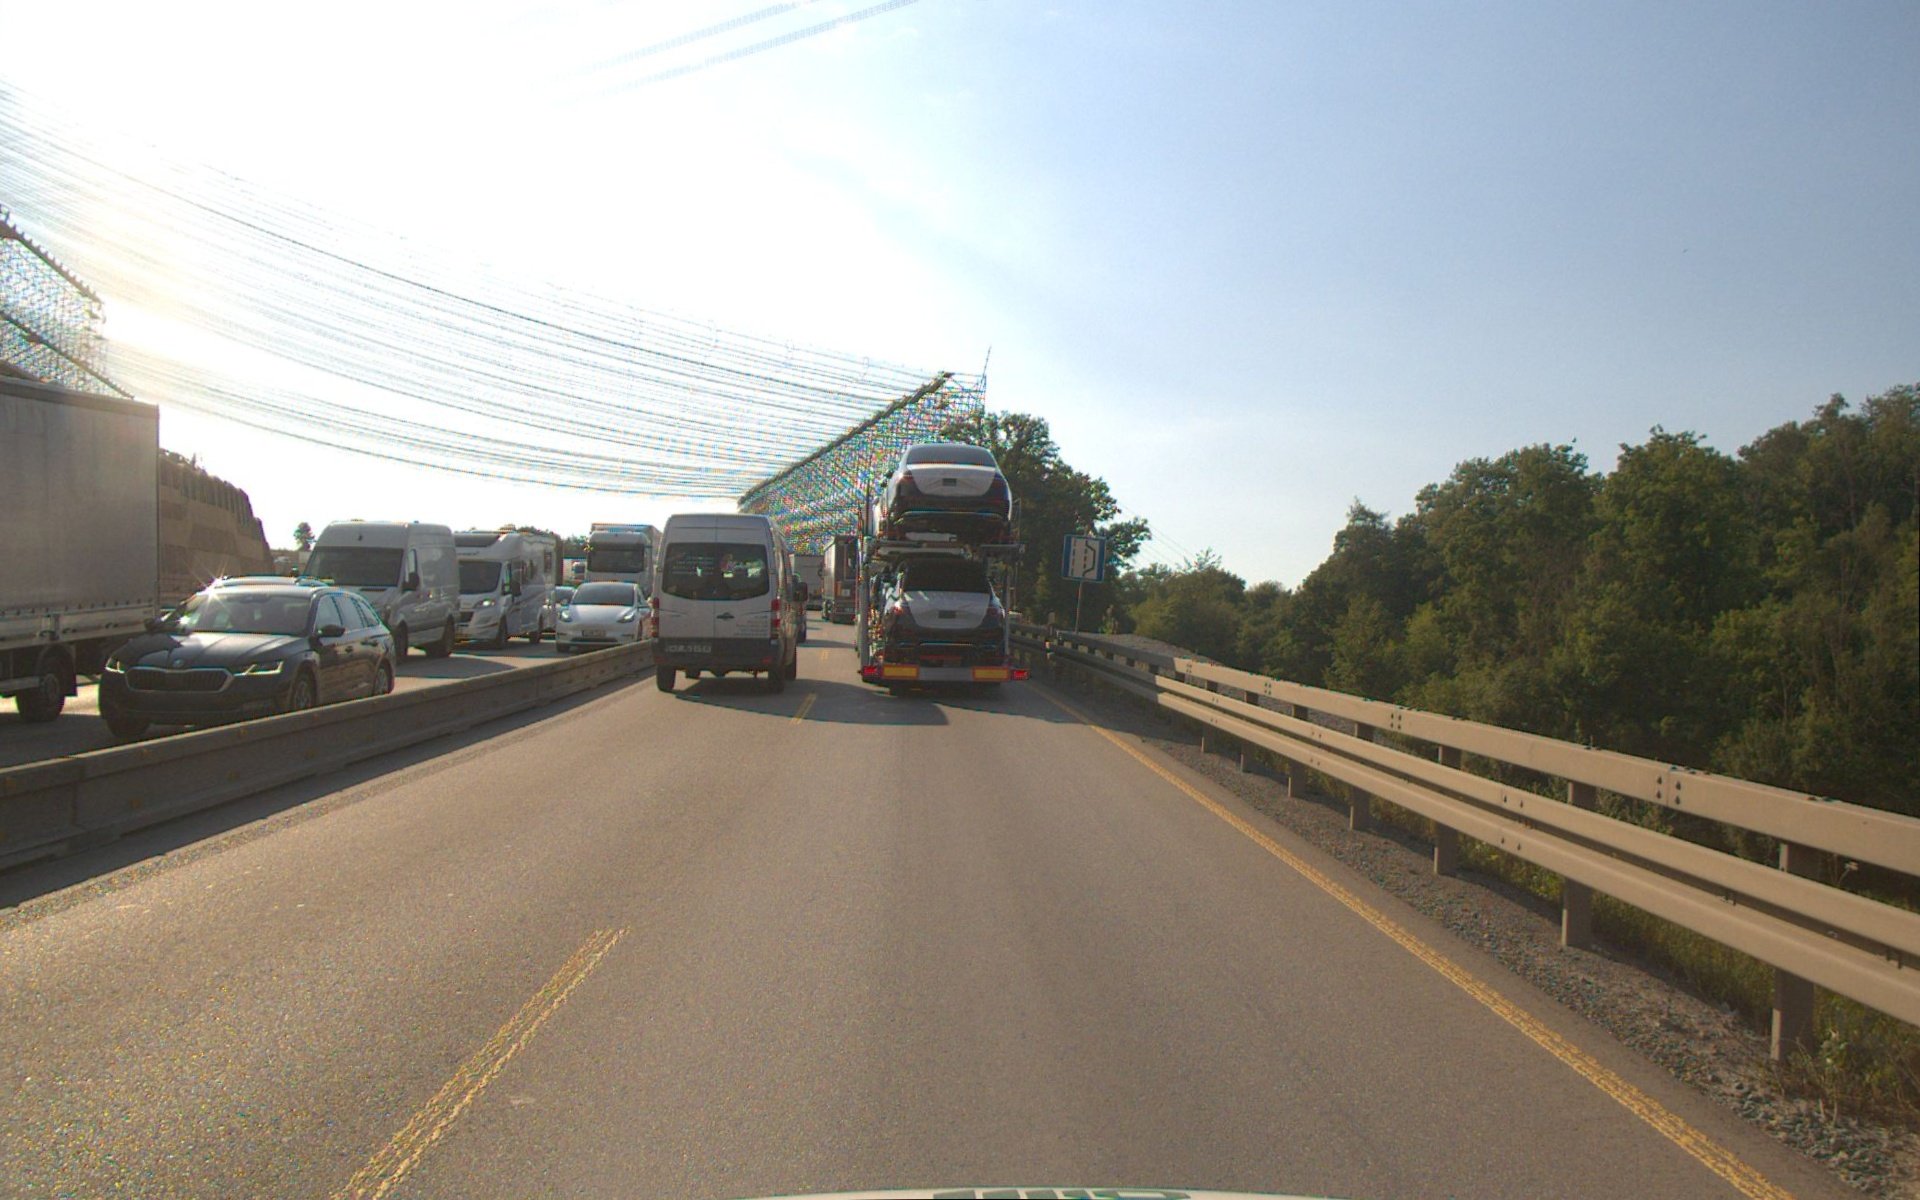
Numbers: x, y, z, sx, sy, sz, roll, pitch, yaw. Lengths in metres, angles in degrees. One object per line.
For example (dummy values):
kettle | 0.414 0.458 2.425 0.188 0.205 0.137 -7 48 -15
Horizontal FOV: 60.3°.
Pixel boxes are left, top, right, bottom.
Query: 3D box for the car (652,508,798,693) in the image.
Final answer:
car | -3.590 0.018 25.916 1.918 2.666 3.997 0 0 -3

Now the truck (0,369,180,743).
truck | -10.259 -0.433 15.622 2.398 3.523 7.613 1 0 -3

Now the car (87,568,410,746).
car | -7.056 0.506 16.910 1.621 1.550 4.284 1 0 -3

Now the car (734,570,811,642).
car | -5.617 0.175 49.940 1.953 2.049 3.998 2 0 -2

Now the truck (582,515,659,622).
truck | -14.227 -1.289 69.664 2.661 4.291 5.673 1 0 -8

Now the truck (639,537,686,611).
truck | -18.328 -1.578 102.207 2.694 4.375 5.921 1 0 -9

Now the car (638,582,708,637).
car | -9.172 0.270 53.170 1.747 1.548 3.997 3 1 -4

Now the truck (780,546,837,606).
truck | -11.917 -1.884 128.550 3.618 4.294 13.644 -2 1 -8

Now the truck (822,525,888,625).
truck | -5.290 -1.222 81.415 2.679 4.462 11.507 2 1 -6

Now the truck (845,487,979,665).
truck | -1.287 -0.523 39.244 2.825 3.767 7.319 1 0 -4

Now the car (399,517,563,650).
car | -11.687 -0.363 41.022 2.288 2.969 7.626 0 0 -4

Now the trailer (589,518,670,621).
trailer | -15.120 -1.321 76.477 2.669 4.291 13.726 1 0 -7

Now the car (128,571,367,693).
car | -9.998 0.419 23.554 1.728 1.550 4.001 1 0 -2

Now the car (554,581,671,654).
car | -8.223 0.355 39.517 2.017 1.512 4.724 -2 1 -3

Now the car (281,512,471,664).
car | -11.152 -0.201 32.072 1.917 2.666 5.744 0 0 -3

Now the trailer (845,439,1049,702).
trailer | -0.705 -0.448 31.664 2.813 3.790 14.933 1 0 -4
